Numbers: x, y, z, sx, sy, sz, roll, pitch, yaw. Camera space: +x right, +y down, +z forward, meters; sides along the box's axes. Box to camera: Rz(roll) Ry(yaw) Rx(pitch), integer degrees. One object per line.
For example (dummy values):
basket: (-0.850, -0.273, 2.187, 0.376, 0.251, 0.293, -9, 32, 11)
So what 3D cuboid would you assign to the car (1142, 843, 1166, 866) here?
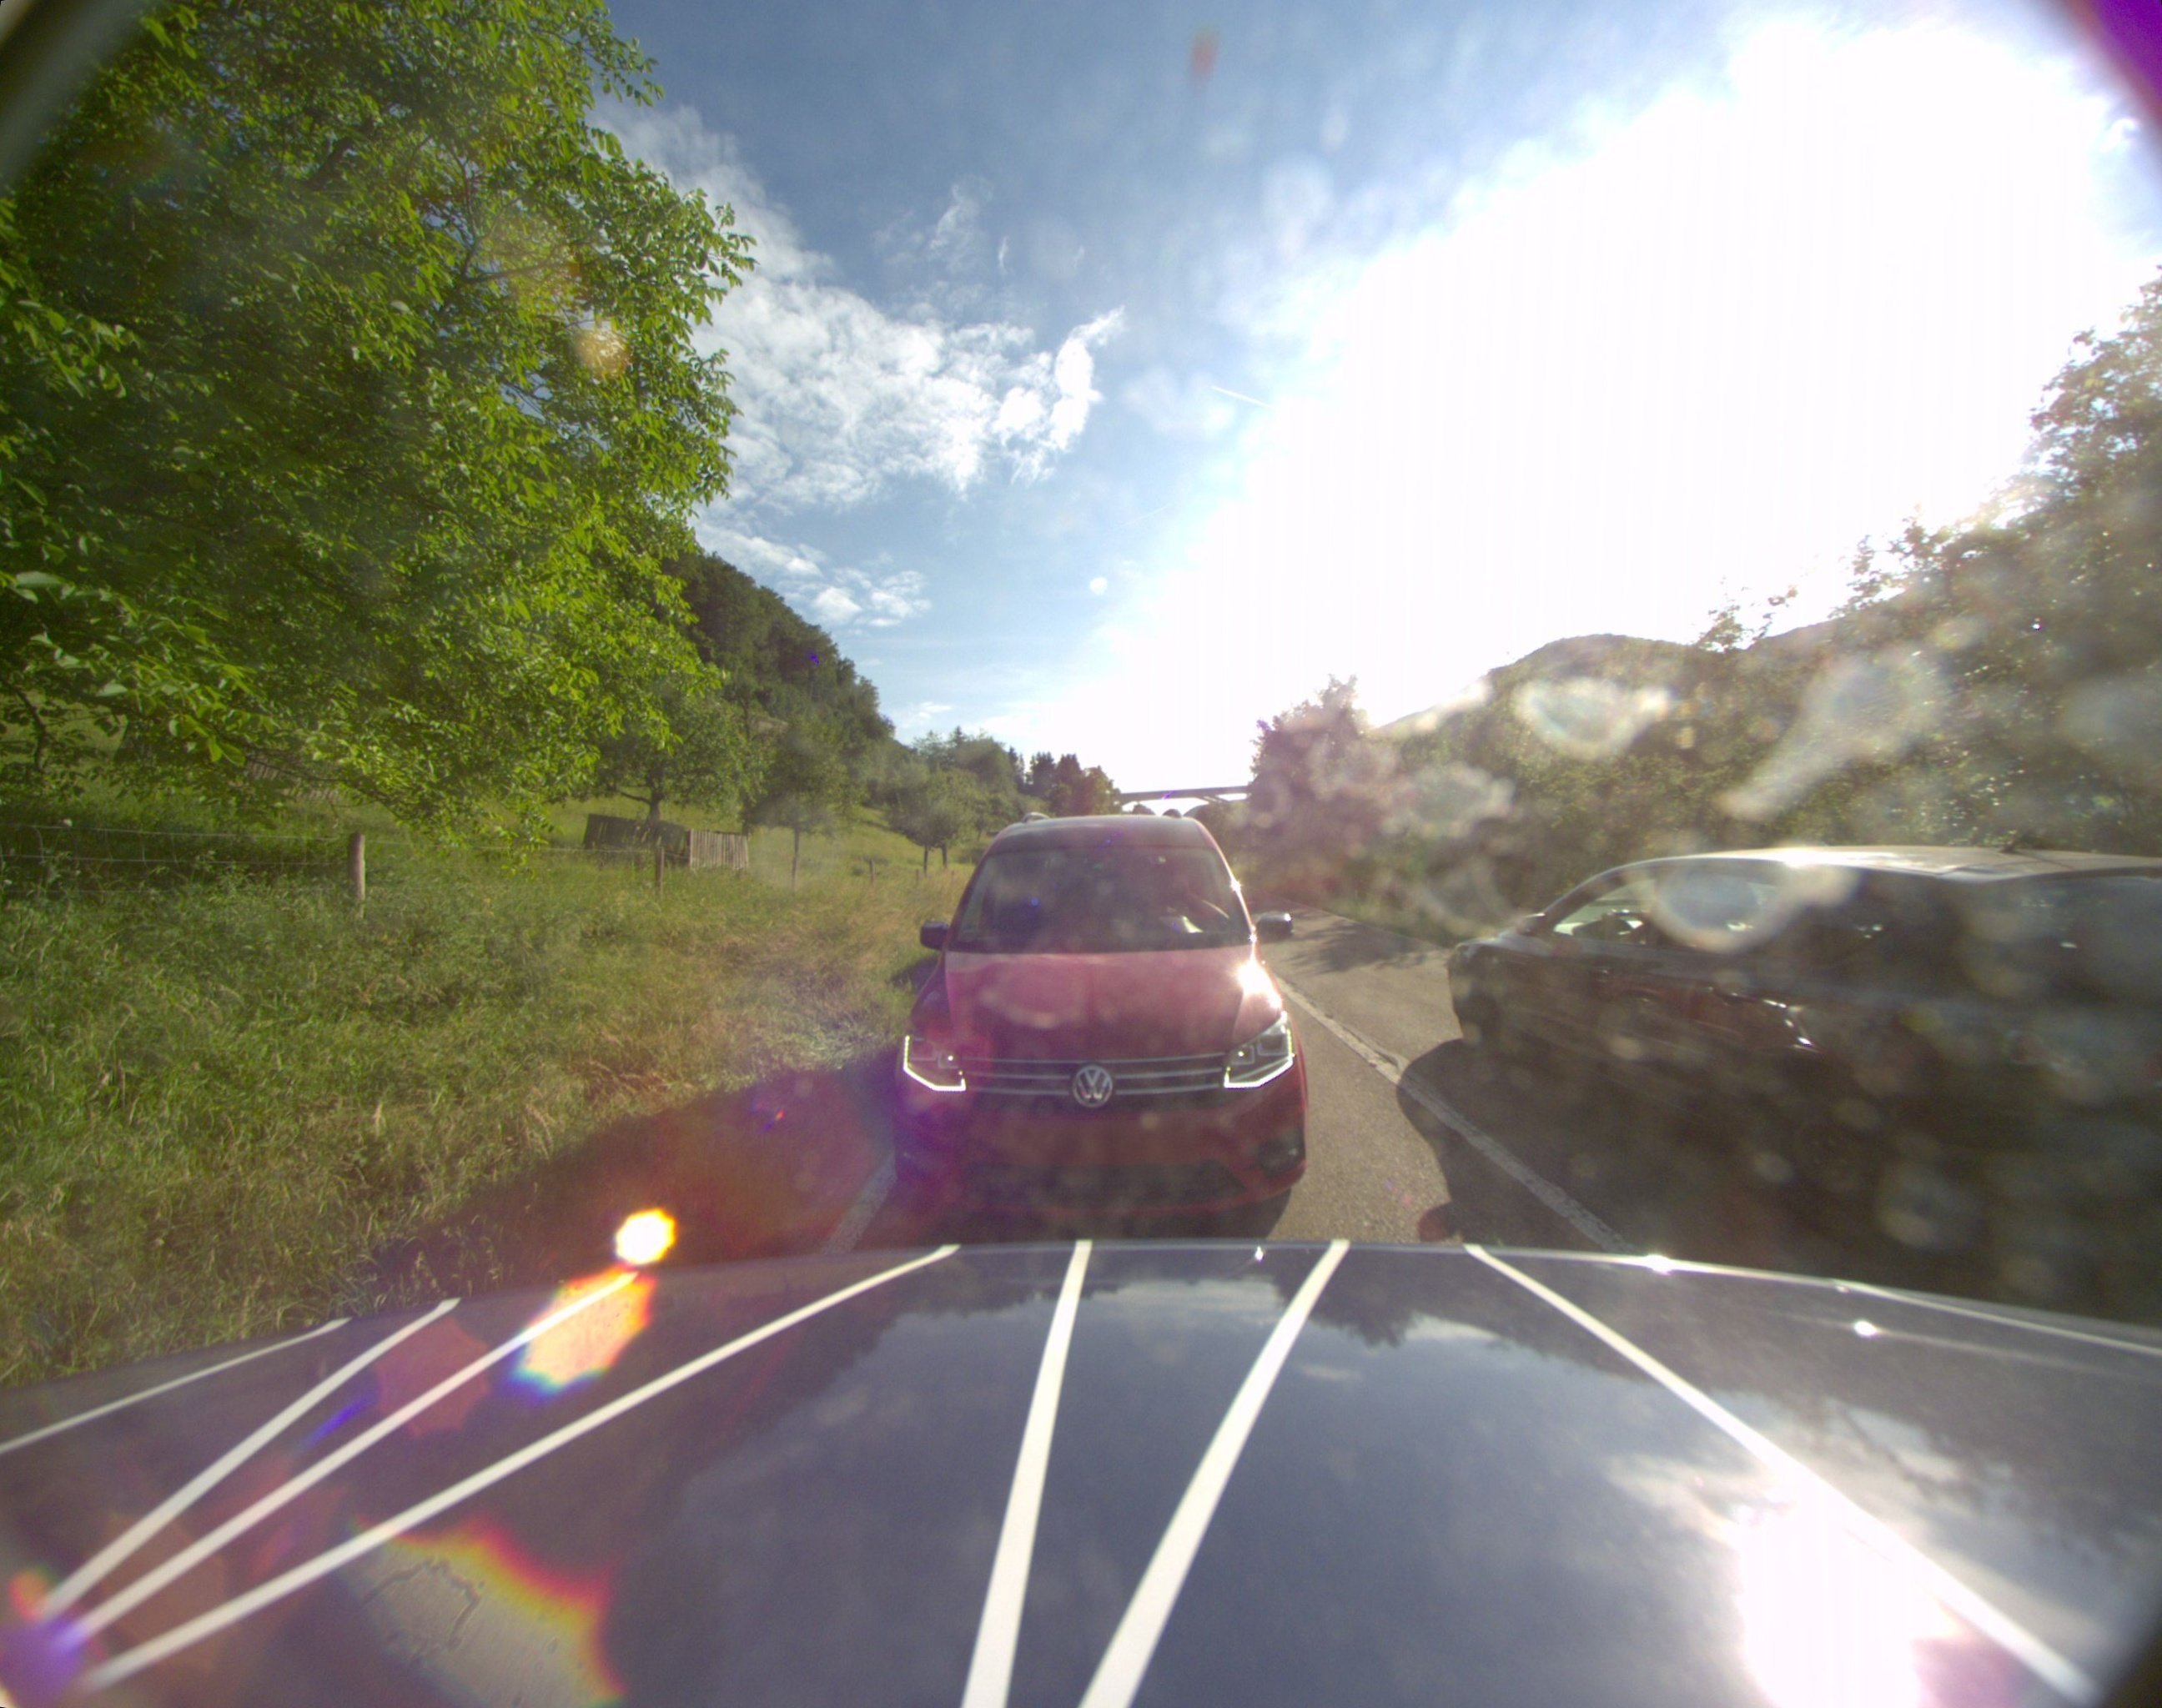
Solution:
car: (6.515, 0.023, 68.449, 1.998, 2.002, 4.000, -2, 1, 4)

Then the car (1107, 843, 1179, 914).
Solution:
car: (1.731, 0.588, 21.311, 1.758, 1.745, 4.001, -2, 1, 5)

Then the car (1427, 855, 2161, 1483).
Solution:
car: (3.495, 0.776, 3.765, 1.708, 1.422, 4.050, -2, 1, 1)

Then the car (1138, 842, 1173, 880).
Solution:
car: (4.090, 0.344, 41.901, 1.758, 1.926, 4.001, -2, 1, 5)

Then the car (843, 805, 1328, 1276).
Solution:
car: (0.153, 0.691, 5.067, 1.759, 1.745, 4.430, -2, 1, 4)

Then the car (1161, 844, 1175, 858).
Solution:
car: (12.766, -0.494, 111.914, 1.998, 2.002, 4.001, -2, 1, 6)

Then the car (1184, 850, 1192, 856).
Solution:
car: (25.456, -0.221, 181.360, 1.597, 1.346, 4.204, -2, 1, 5)
